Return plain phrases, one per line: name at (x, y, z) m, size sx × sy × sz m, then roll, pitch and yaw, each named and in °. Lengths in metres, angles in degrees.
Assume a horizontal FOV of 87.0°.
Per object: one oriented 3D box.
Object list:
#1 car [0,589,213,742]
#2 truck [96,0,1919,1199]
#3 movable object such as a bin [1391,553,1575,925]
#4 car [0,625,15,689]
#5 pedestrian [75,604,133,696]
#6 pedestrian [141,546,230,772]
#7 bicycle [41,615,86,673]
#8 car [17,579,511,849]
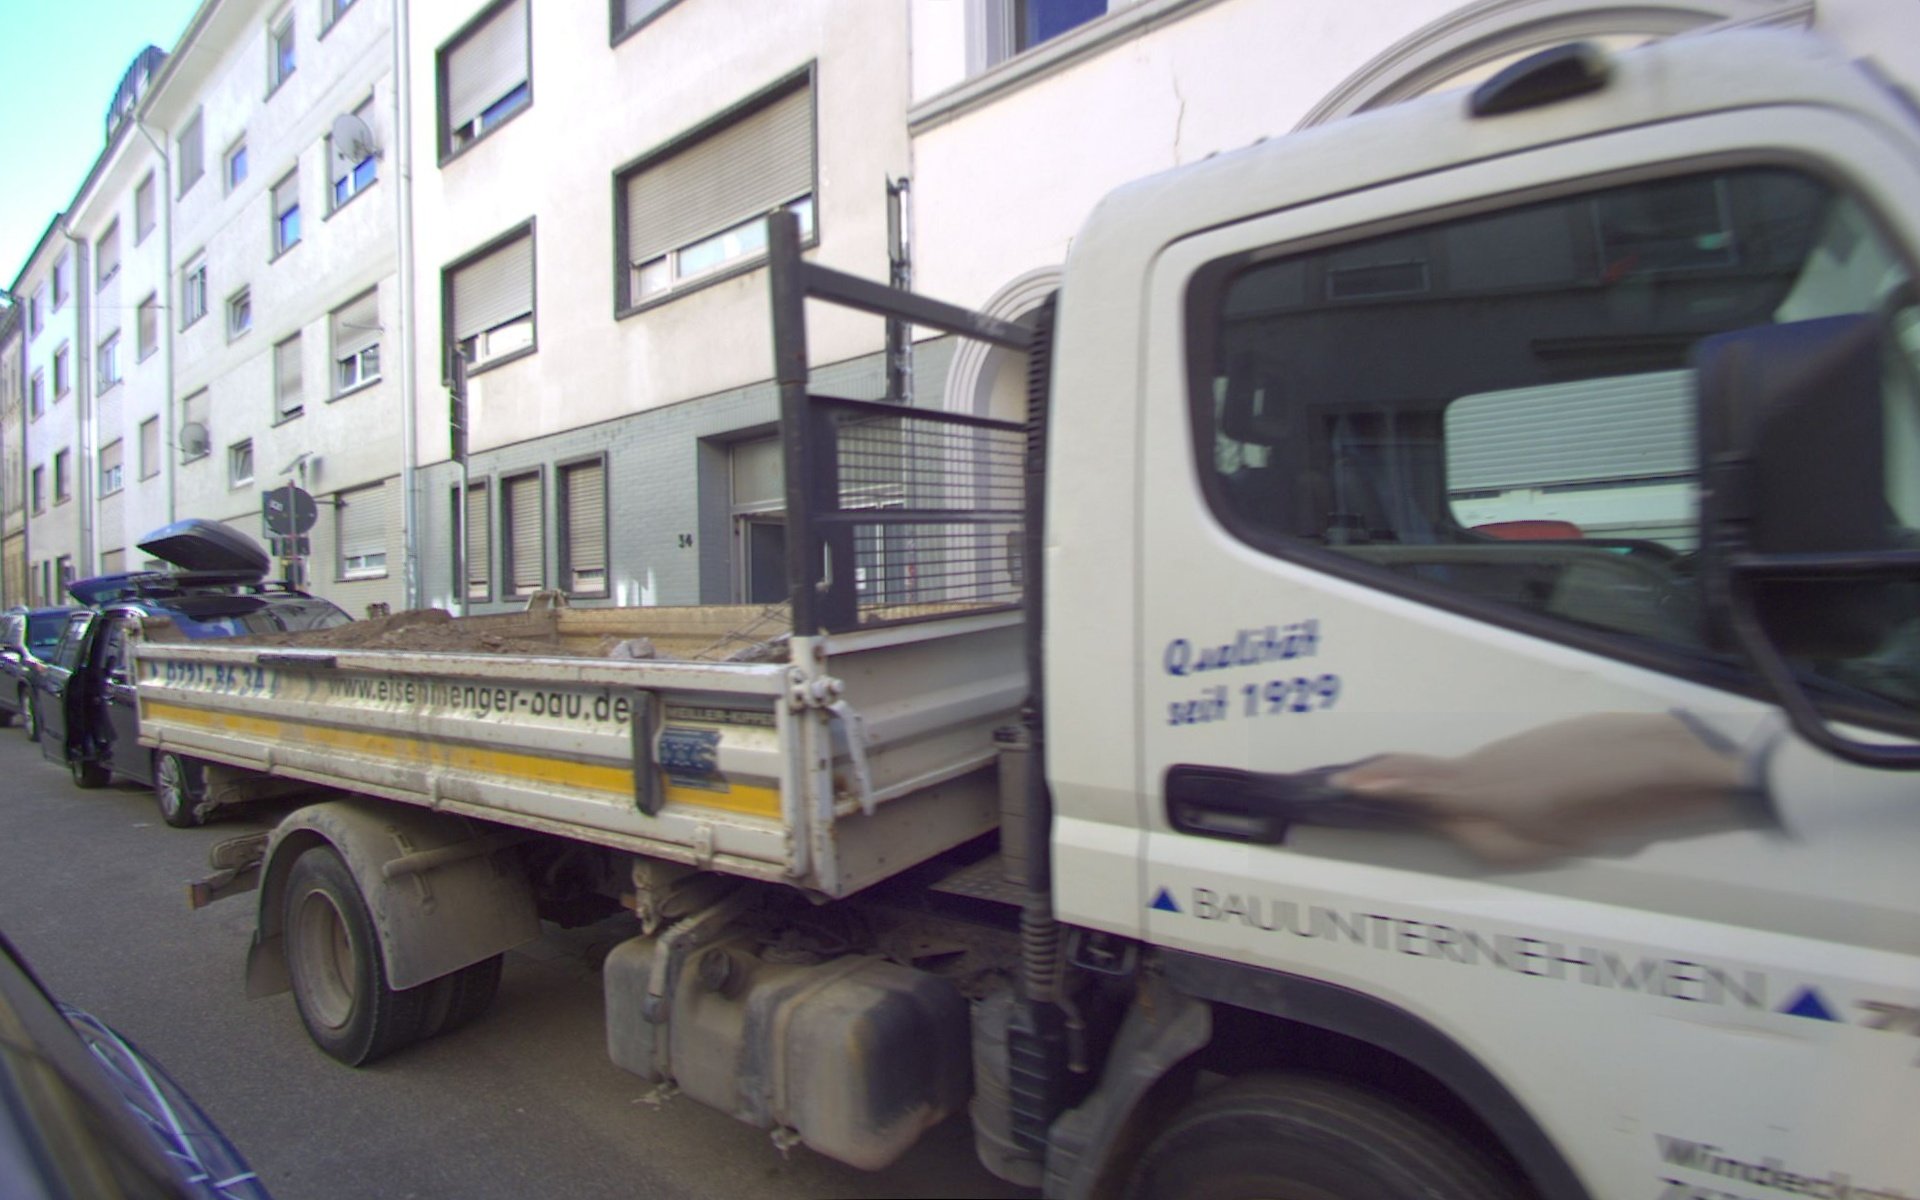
car at (-12.571, 0.862, 14.388) m, size 4.535 × 1.768 × 1.862 m, roll -2°, pitch 2°, yaw 37°
truck at (-0.521, 0.190, 3.327) m, size 6.238 × 2.609 × 2.137 m, roll -1°, pitch 1°, yaw 37°
movable object such as a bin at (2.398, 0.579, 4.633) m, size 0.586 × 1.544 × 0.632 m, roll -2°, pitch -1°, yaw 41°
car at (-24.213, 1.384, 24.282) m, size 4.297 × 1.461 × 1.690 m, roll -2°, pitch 0°, yaw 40°
pedestrian at (-18.901, 1.079, 22.352) m, size 0.690 × 1.948 × 0.798 m, roll -2°, pitch 1°, yaw 40°
pedestrian at (-8.063, 0.585, 10.536) m, size 0.688 × 2.245 × 0.612 m, roll 0°, pitch 0°, yaw 41°
bicycle at (-24.829, 1.207, 28.029) m, size 1.797 × 1.520 × 0.552 m, roll -2°, pitch 1°, yaw 38°
car at (-6.444, 0.762, 9.084) m, size 5.239 × 1.718 × 2.416 m, roll -2°, pitch 0°, yaw 41°
